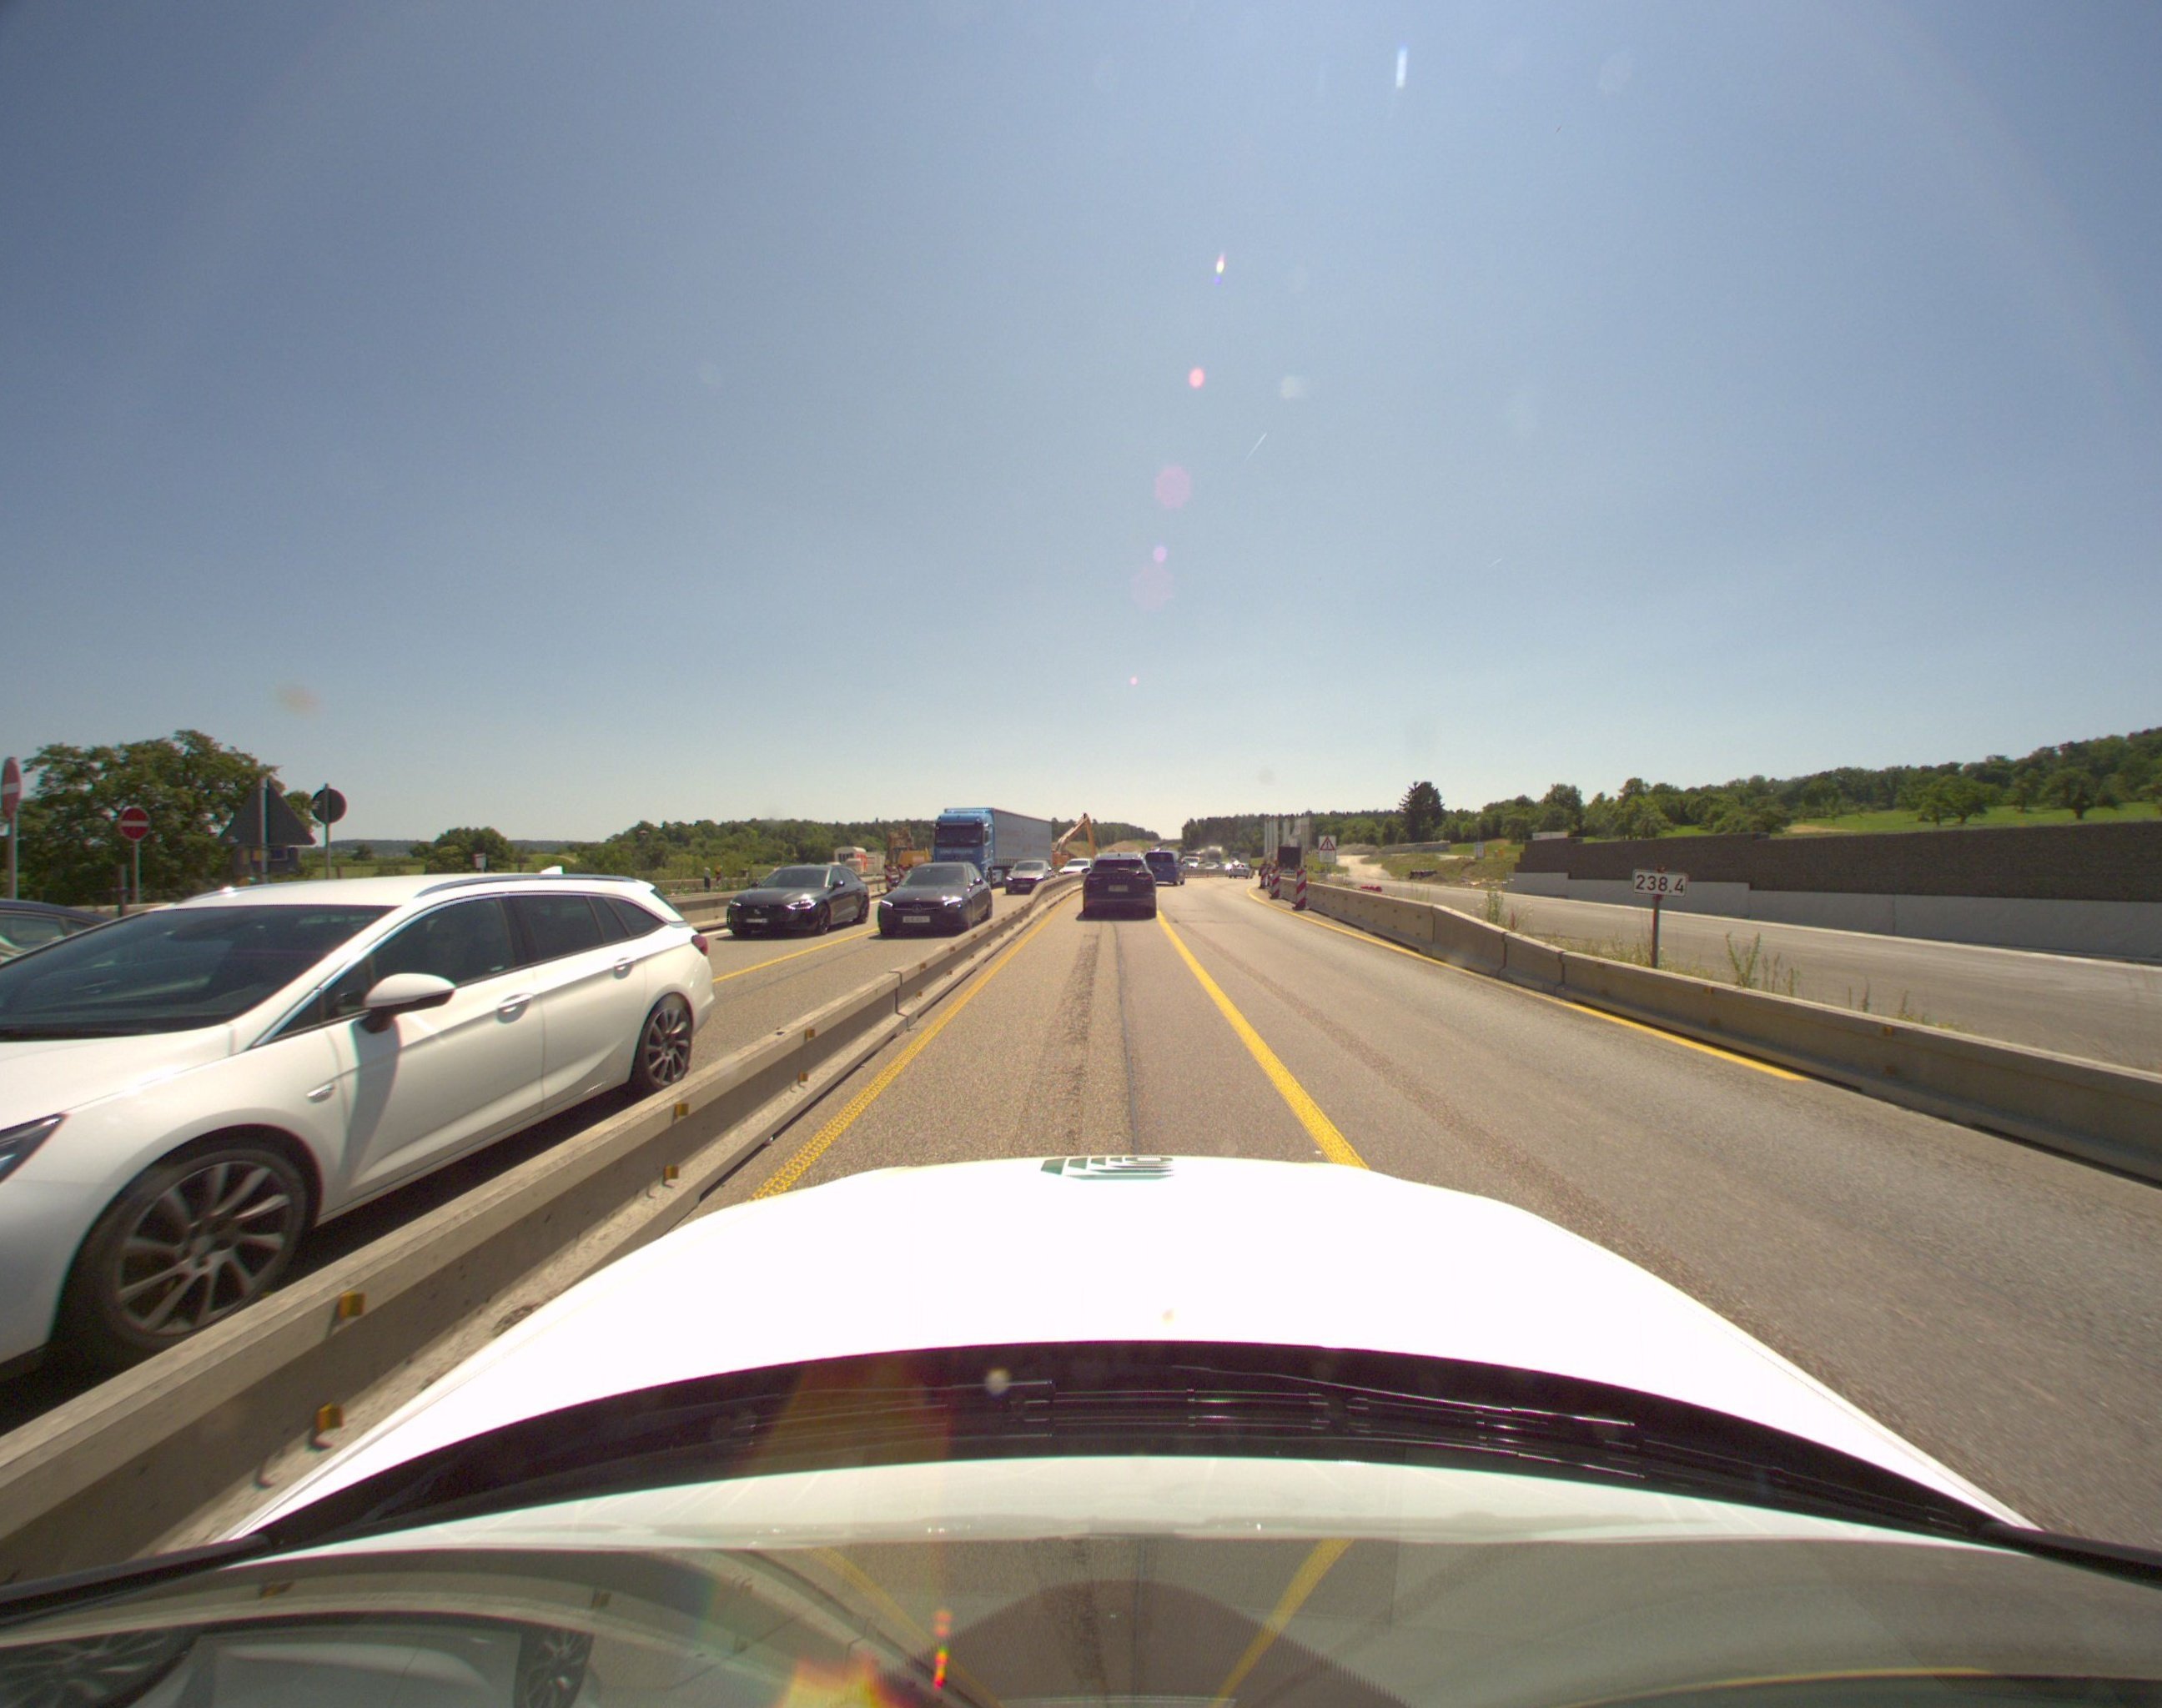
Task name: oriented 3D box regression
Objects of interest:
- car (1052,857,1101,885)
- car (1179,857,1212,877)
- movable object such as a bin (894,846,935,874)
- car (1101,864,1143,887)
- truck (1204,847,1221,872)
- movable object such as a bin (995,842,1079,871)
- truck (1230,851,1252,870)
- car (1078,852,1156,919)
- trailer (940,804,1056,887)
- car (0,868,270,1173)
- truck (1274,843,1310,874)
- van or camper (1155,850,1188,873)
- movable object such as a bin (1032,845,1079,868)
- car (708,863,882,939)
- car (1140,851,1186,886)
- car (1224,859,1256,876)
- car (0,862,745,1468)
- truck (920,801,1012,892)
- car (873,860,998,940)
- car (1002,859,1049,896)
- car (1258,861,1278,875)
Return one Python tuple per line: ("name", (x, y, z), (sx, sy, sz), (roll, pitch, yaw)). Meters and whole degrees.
("car", (-0.197, 0.994, 49.314), (2.003, 1.444, 4.603), (-1, 1, 12))
("car", (11.782, 1.345, 83.402), (1.856, 1.873, 5.086), (2, -1, 25))
("movable object such as a bin", (-17.234, 0.617, 84.175), (2.893, 2.727, 3.324), (2, 0, -38))
("car", (3.177, 1.603, 61.491), (1.753, 1.607, 4.734), (-2, -1, 21))
("truck", (23.338, 0.927, 144.497), (2.755, 4.260, 6.213), (1, 0, 8))
("movable object such as a bin", (-4.438, 0.273, 81.508), (7.829, 2.432, 3.741), (3, 0, 39))
("truck", (37.779, 1.492, 192.399), (3.461, 4.220, 10.387), (5, 1, 4))
("car", (0.944, 0.735, 21.252), (1.835, 1.582, 4.003), (0, 0, 3))
("trailer", (-4.410, -0.464, 47.760), (2.896, 4.128, 13.957), (-1, 0, 10))
("car", (-6.639, 0.914, 3.723), (1.760, 1.597, 4.001), (-1, 0, 1))
("truck", (21.255, 0.468, 81.755), (2.649, 2.946, 5.651), (0, -1, 24))
("van or camper", (10.137, 0.845, 90.556), (2.081, 2.541, 6.337), (-1, -1, 21))
("movable object such as a bin", (-2.870, 0.297, 93.707), (3.263, 2.440, 5.468), (4, 0, 22))
("car", (-6.132, 0.946, 18.129), (1.985, 1.399, 4.585), (0, 0, 4))
("car", (4.620, 0.756, 45.248), (1.980, 1.844, 4.014), (1, 0, 13))
("car", (14.976, 1.251, 76.503), (2.027, 1.527, 5.093), (-1, -1, 23))
("car", (-3.564, 0.843, 4.055), (1.727, 1.478, 4.522), (-2, 0, 2))
("truck", (-5.595, -0.362, 40.779), (2.897, 4.128, 6.153), (-1, 0, 8))
("car", (-3.030, 0.896, 17.964), (1.767, 1.427, 4.771), (-2, 0, 1))
("car", (-2.392, 0.992, 35.746), (1.583, 1.441, 4.127), (-2, 0, 2))
("car", (22.761, 1.685, 98.991), (1.806, 1.644, 3.884), (1, 0, 20))
